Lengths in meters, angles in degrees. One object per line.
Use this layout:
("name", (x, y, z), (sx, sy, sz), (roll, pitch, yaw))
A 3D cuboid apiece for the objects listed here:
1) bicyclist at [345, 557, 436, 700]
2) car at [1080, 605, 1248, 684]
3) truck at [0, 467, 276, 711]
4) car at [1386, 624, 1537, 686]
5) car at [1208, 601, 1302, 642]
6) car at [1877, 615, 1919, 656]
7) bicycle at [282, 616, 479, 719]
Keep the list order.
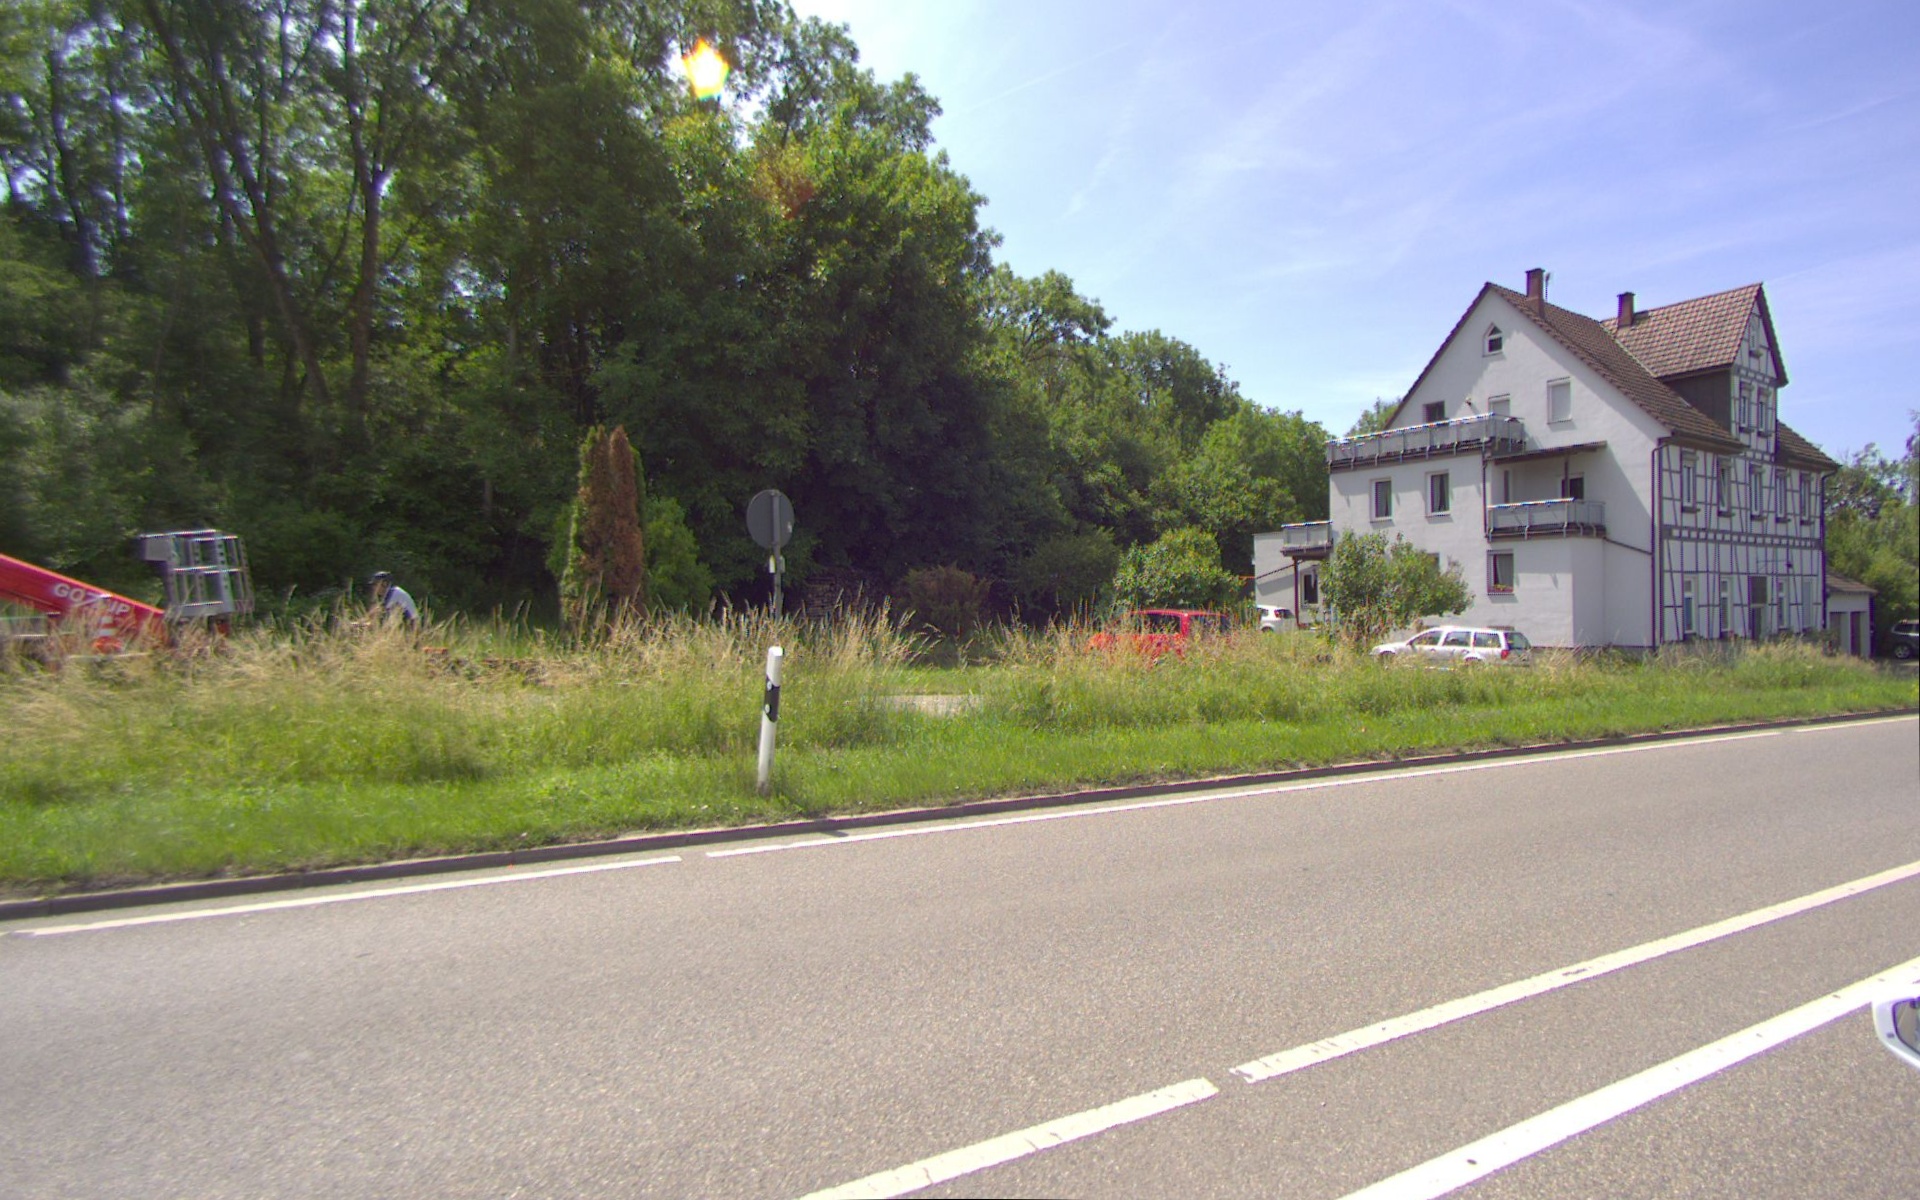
("bicyclist", (-7.173, 0.351, 12.696), (0.924, 1.737, 0.745), (1, 1, -26))
("car", (4.726, 0.992, 23.874), (1.810, 1.640, 4.012), (1, 0, -27))
("truck", (-12.975, -0.169, 12.886), (6.688, 3.003, 2.018), (1, 1, -28))
("car", (13.697, 1.460, 27.569), (1.594, 1.485, 3.355), (1, 0, -34))
("car", (12.272, 0.864, 41.904), (1.659, 1.466, 3.346), (1, 2, -41))
("car", (44.093, 1.626, 44.658), (1.841, 1.743, 4.637), (-2, 2, -32))
("bicycle", (-7.240, 0.820, 12.682), (2.077, 1.196, 0.746), (1, 1, -27))
